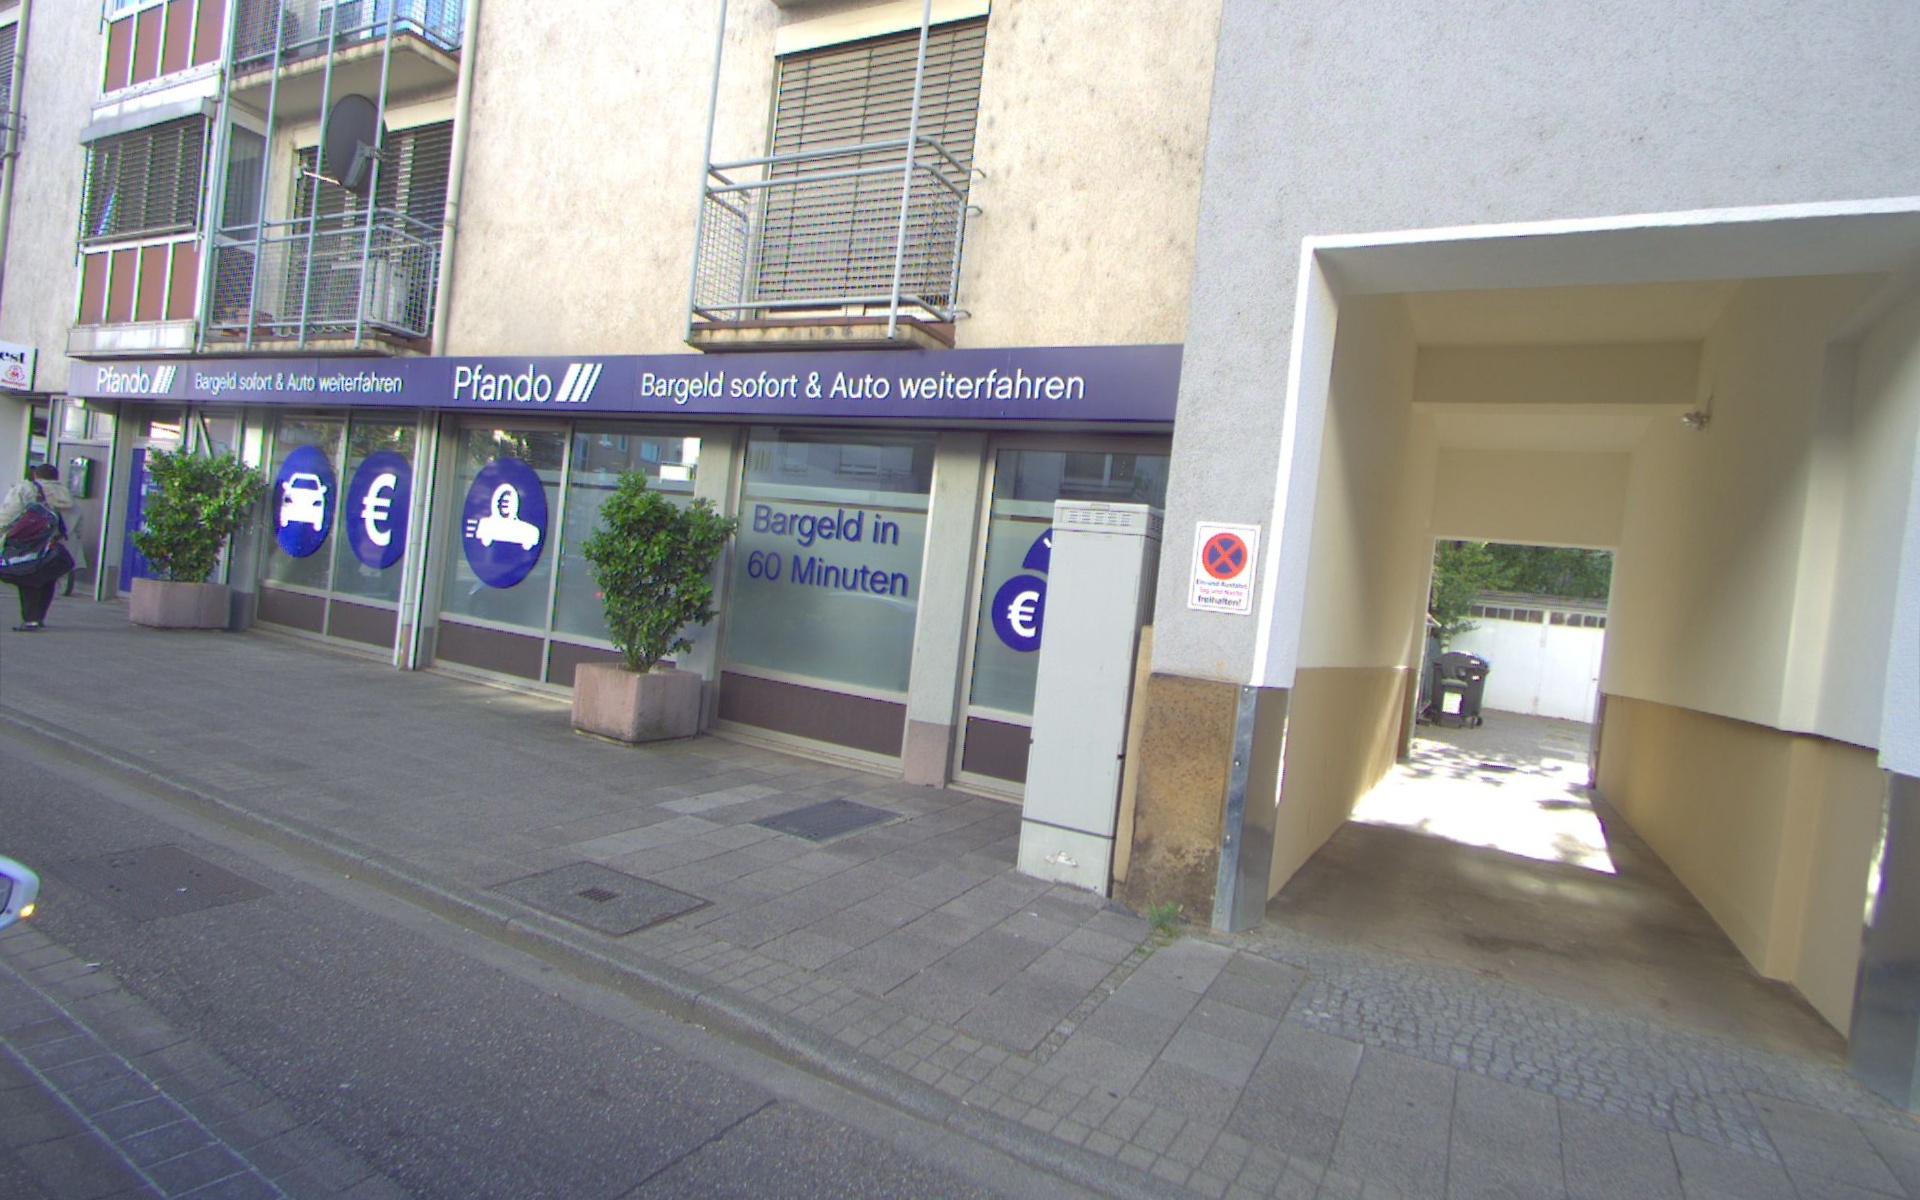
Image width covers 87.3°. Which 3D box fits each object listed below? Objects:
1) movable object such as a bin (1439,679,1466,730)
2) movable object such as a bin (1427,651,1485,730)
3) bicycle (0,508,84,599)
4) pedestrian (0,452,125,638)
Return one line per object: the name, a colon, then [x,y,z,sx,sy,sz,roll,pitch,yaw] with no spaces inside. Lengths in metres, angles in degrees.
movable object such as a bin: [9.484,2.001,19.358,0.365,0.920,0.420,7,2,28]
movable object such as a bin: [9.809,1.775,19.899,0.873,1.411,0.758,7,2,28]
bicycle: [-11.888,-0.621,12.818,1.678,1.010,0.543,6,-1,32]
pedestrian: [-8.671,-0.508,9.525,0.738,1.611,0.827,6,-1,31]
